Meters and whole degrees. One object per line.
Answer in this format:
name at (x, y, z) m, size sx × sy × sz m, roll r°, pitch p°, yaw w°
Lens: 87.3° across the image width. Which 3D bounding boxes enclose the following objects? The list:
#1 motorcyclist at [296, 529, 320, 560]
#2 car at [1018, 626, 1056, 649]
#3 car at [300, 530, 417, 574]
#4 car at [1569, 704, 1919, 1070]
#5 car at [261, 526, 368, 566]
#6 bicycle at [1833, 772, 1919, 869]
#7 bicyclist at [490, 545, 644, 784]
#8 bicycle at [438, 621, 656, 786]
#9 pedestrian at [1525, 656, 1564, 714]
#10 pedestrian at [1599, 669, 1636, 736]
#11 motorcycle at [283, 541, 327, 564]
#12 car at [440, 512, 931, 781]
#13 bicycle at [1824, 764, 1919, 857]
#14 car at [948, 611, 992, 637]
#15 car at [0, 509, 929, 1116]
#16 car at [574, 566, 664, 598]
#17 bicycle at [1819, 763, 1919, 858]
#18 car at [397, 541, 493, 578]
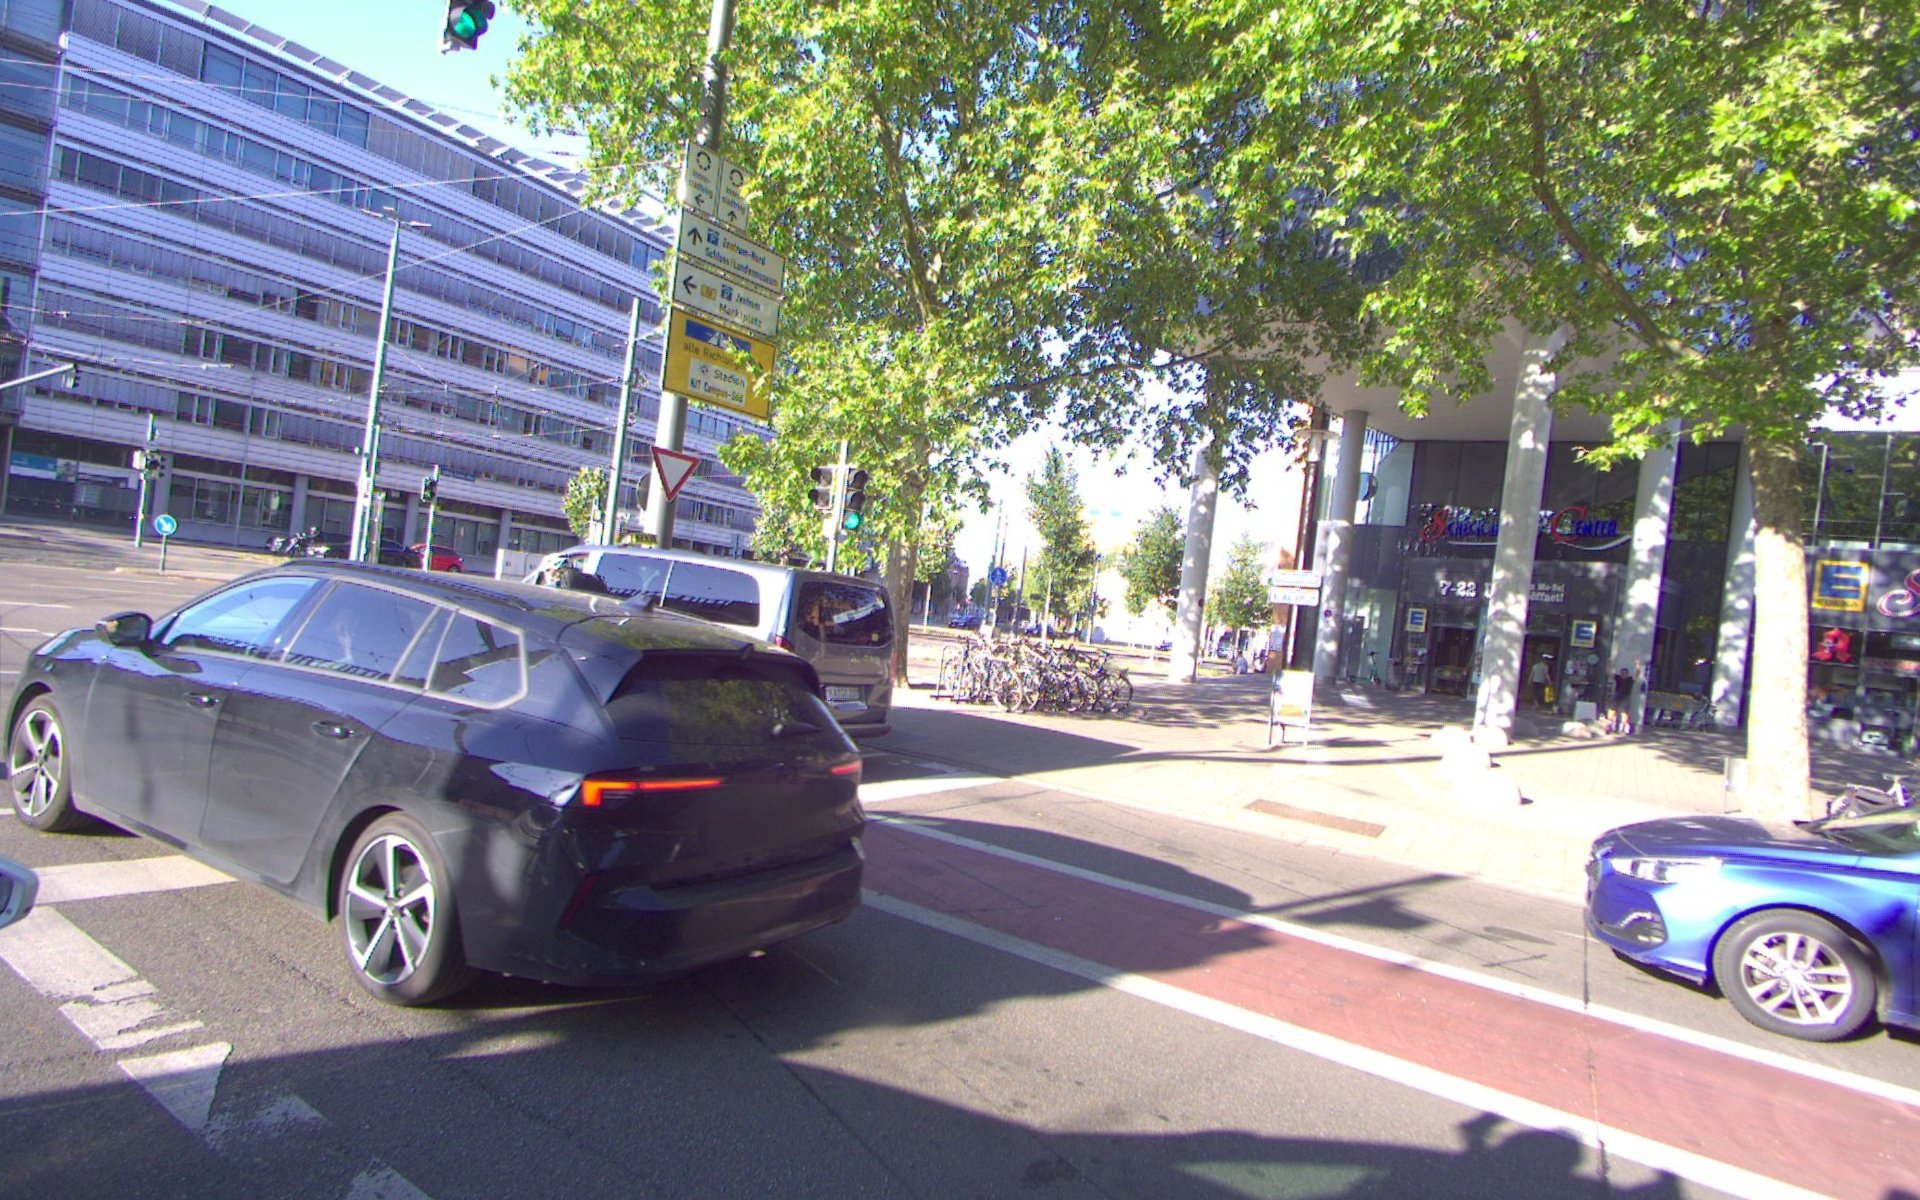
motorcyclist at (-30.063, -2.554, 46.407) m, size 0.452 × 1.291 × 0.712 m, roll 7°, pitch 1°, yaw 36°
car at (7.391, 3.618, 96.625) m, size 1.766 × 1.725 × 3.994 m, roll 6°, pitch -2°, yaw 33°
car at (-27.295, -2.169, 45.773) m, size 1.758 × 1.415 × 4.157 m, roll 7°, pitch 0°, yaw 37°
car at (5.656, 1.615, 5.151) m, size 4.181 × 1.503 × 1.741 m, roll 7°, pitch 0°, yaw 31°
car at (-32.601, -2.704, 50.906) m, size 1.758 × 1.415 × 4.157 m, roll 7°, pitch 0°, yaw 37°
bicycle at (10.544, 2.476, 11.098) m, size 1.233 × 0.898 × 0.462 m, roll 7°, pitch 1°, yaw 32°
bicyclist at (-3.069, 0.490, 7.865) m, size 0.766 × 1.714 × 0.632 m, roll 7°, pitch 1°, yaw 32°
bicycle at (-3.323, 0.782, 8.018) m, size 1.839 × 0.993 × 0.561 m, roll 7°, pitch 1°, yaw 32°
pedestrian at (18.454, 2.686, 31.758) m, size 0.708 × 1.728 × 0.801 m, roll 7°, pitch 1°, yaw 44°
pedestrian at (17.492, 2.723, 26.765) m, size 0.598 × 1.707 × 0.511 m, roll 6°, pitch 1°, yaw -41°
motorcycle at (-30.156, -2.187, 46.324) m, size 0.460 × 0.820 × 1.568 m, roll 7°, pitch 0°, yaw 36°
car at (-3.024, 0.352, 10.625) m, size 5.012 × 2.004 × 1.939 m, roll 7°, pitch 0°, yaw 31°
bicycle at (11.500, 2.605, 12.357) m, size 0.460 × 0.938 × 1.210 m, roll 6°, pitch 0°, yaw -39°
car at (0.894, 2.098, 87.957) m, size 1.825 × 1.759 × 3.994 m, roll 6°, pitch -2°, yaw 32°
car at (-2.451, 0.572, 4.563) m, size 4.197 × 1.431 × 1.743 m, roll 7°, pitch -2°, yaw 29°
car at (-19.289, -0.986, 57.124) m, size 1.758 × 1.354 × 4.602 m, roll 7°, pitch 1°, yaw 37°
bicycle at (11.202, 2.542, 12.084) m, size 0.437 × 0.930 × 1.210 m, roll 6°, pitch 0°, yaw -39°
car at (-26.412, -2.070, 51.671) m, size 1.758 × 1.411 × 3.984 m, roll 7°, pitch 1°, yaw 37°
